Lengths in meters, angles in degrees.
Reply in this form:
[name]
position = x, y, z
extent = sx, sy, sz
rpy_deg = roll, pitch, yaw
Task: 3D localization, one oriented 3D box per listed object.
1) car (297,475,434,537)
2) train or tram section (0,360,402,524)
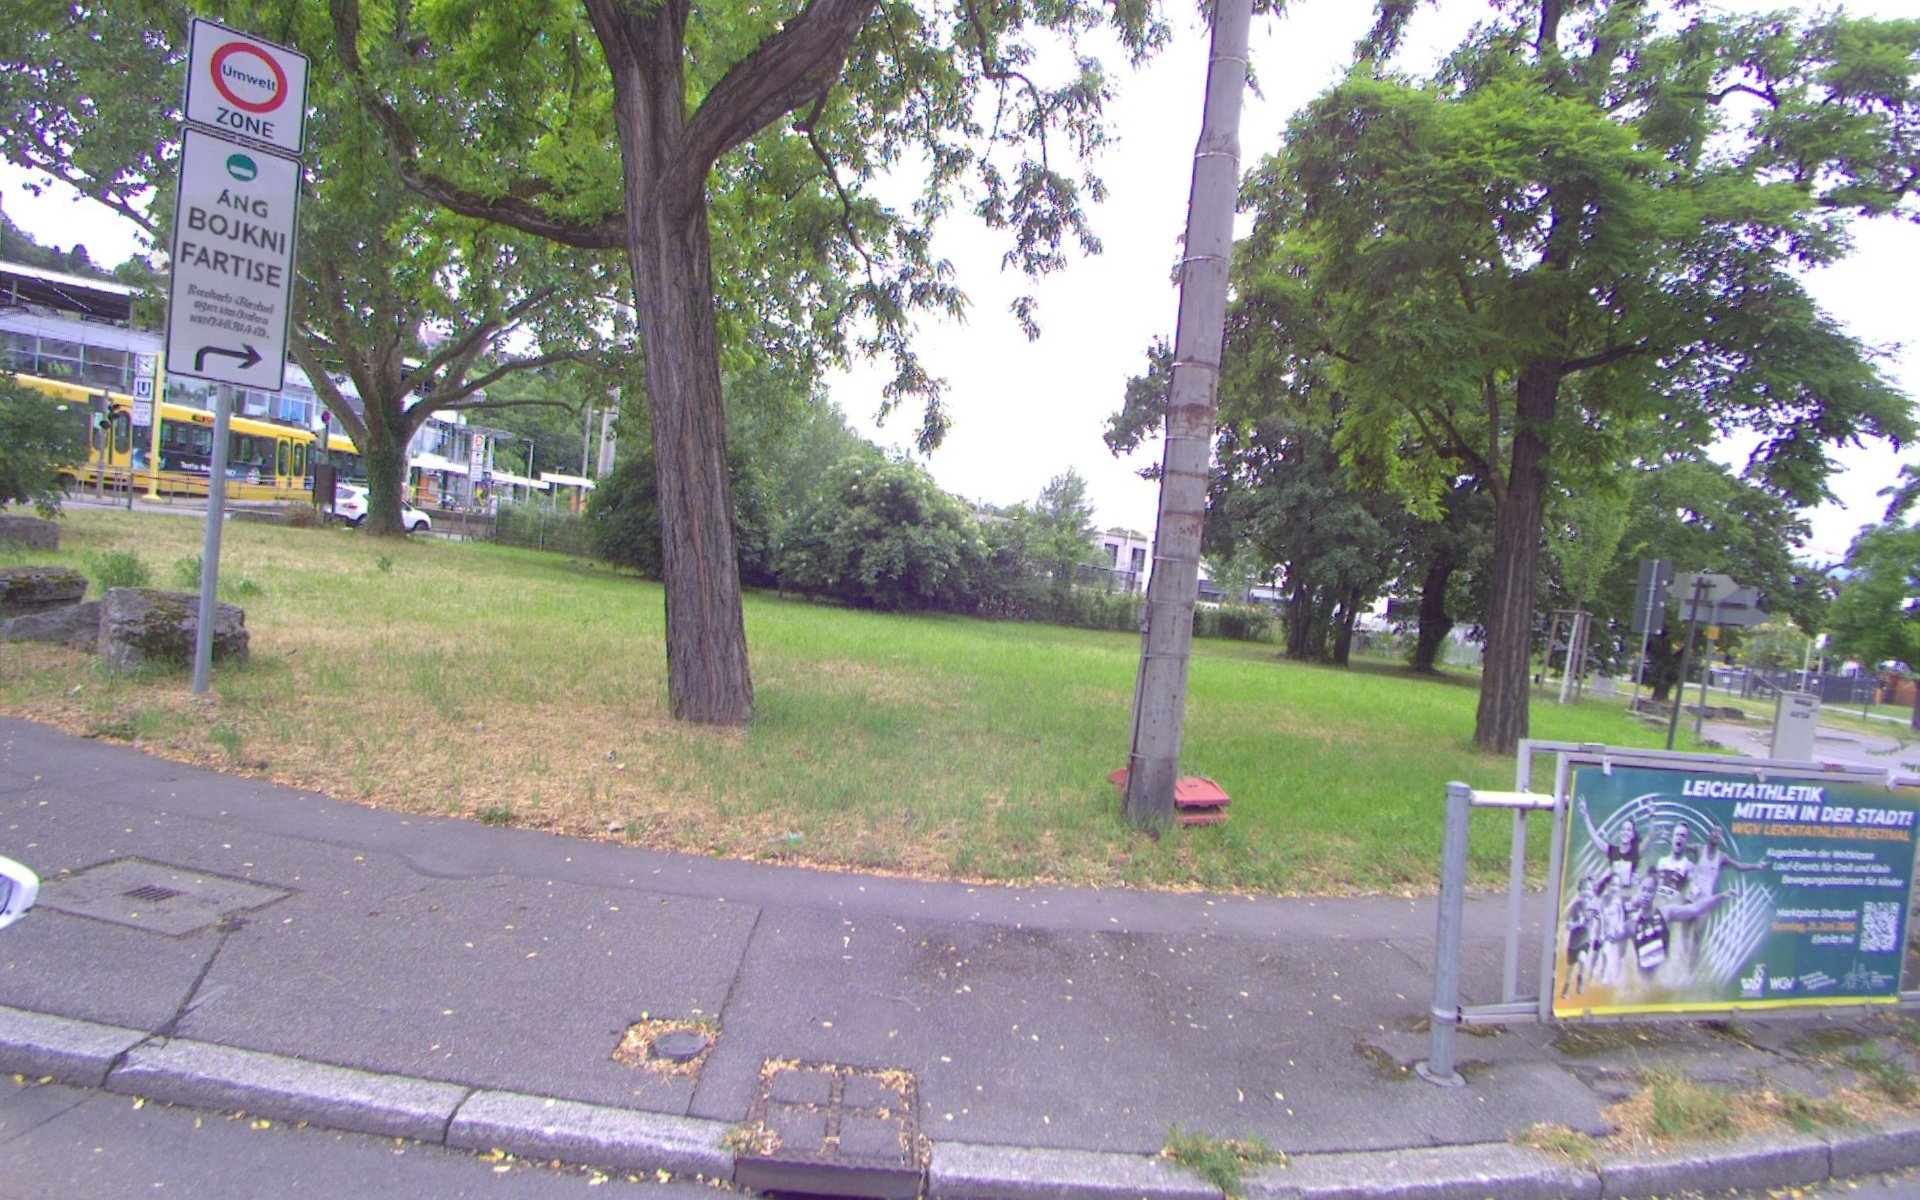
[car]
position = -20.563, -3.214, 35.008
extent = 1.768, 1.605, 4.125
rpy_deg = 7, 2, 9
[train or tram section]
position = -29.037, -5.522, 37.123
extent = 3.215, 3.713, 19.168
rpy_deg = 7, 2, 10
